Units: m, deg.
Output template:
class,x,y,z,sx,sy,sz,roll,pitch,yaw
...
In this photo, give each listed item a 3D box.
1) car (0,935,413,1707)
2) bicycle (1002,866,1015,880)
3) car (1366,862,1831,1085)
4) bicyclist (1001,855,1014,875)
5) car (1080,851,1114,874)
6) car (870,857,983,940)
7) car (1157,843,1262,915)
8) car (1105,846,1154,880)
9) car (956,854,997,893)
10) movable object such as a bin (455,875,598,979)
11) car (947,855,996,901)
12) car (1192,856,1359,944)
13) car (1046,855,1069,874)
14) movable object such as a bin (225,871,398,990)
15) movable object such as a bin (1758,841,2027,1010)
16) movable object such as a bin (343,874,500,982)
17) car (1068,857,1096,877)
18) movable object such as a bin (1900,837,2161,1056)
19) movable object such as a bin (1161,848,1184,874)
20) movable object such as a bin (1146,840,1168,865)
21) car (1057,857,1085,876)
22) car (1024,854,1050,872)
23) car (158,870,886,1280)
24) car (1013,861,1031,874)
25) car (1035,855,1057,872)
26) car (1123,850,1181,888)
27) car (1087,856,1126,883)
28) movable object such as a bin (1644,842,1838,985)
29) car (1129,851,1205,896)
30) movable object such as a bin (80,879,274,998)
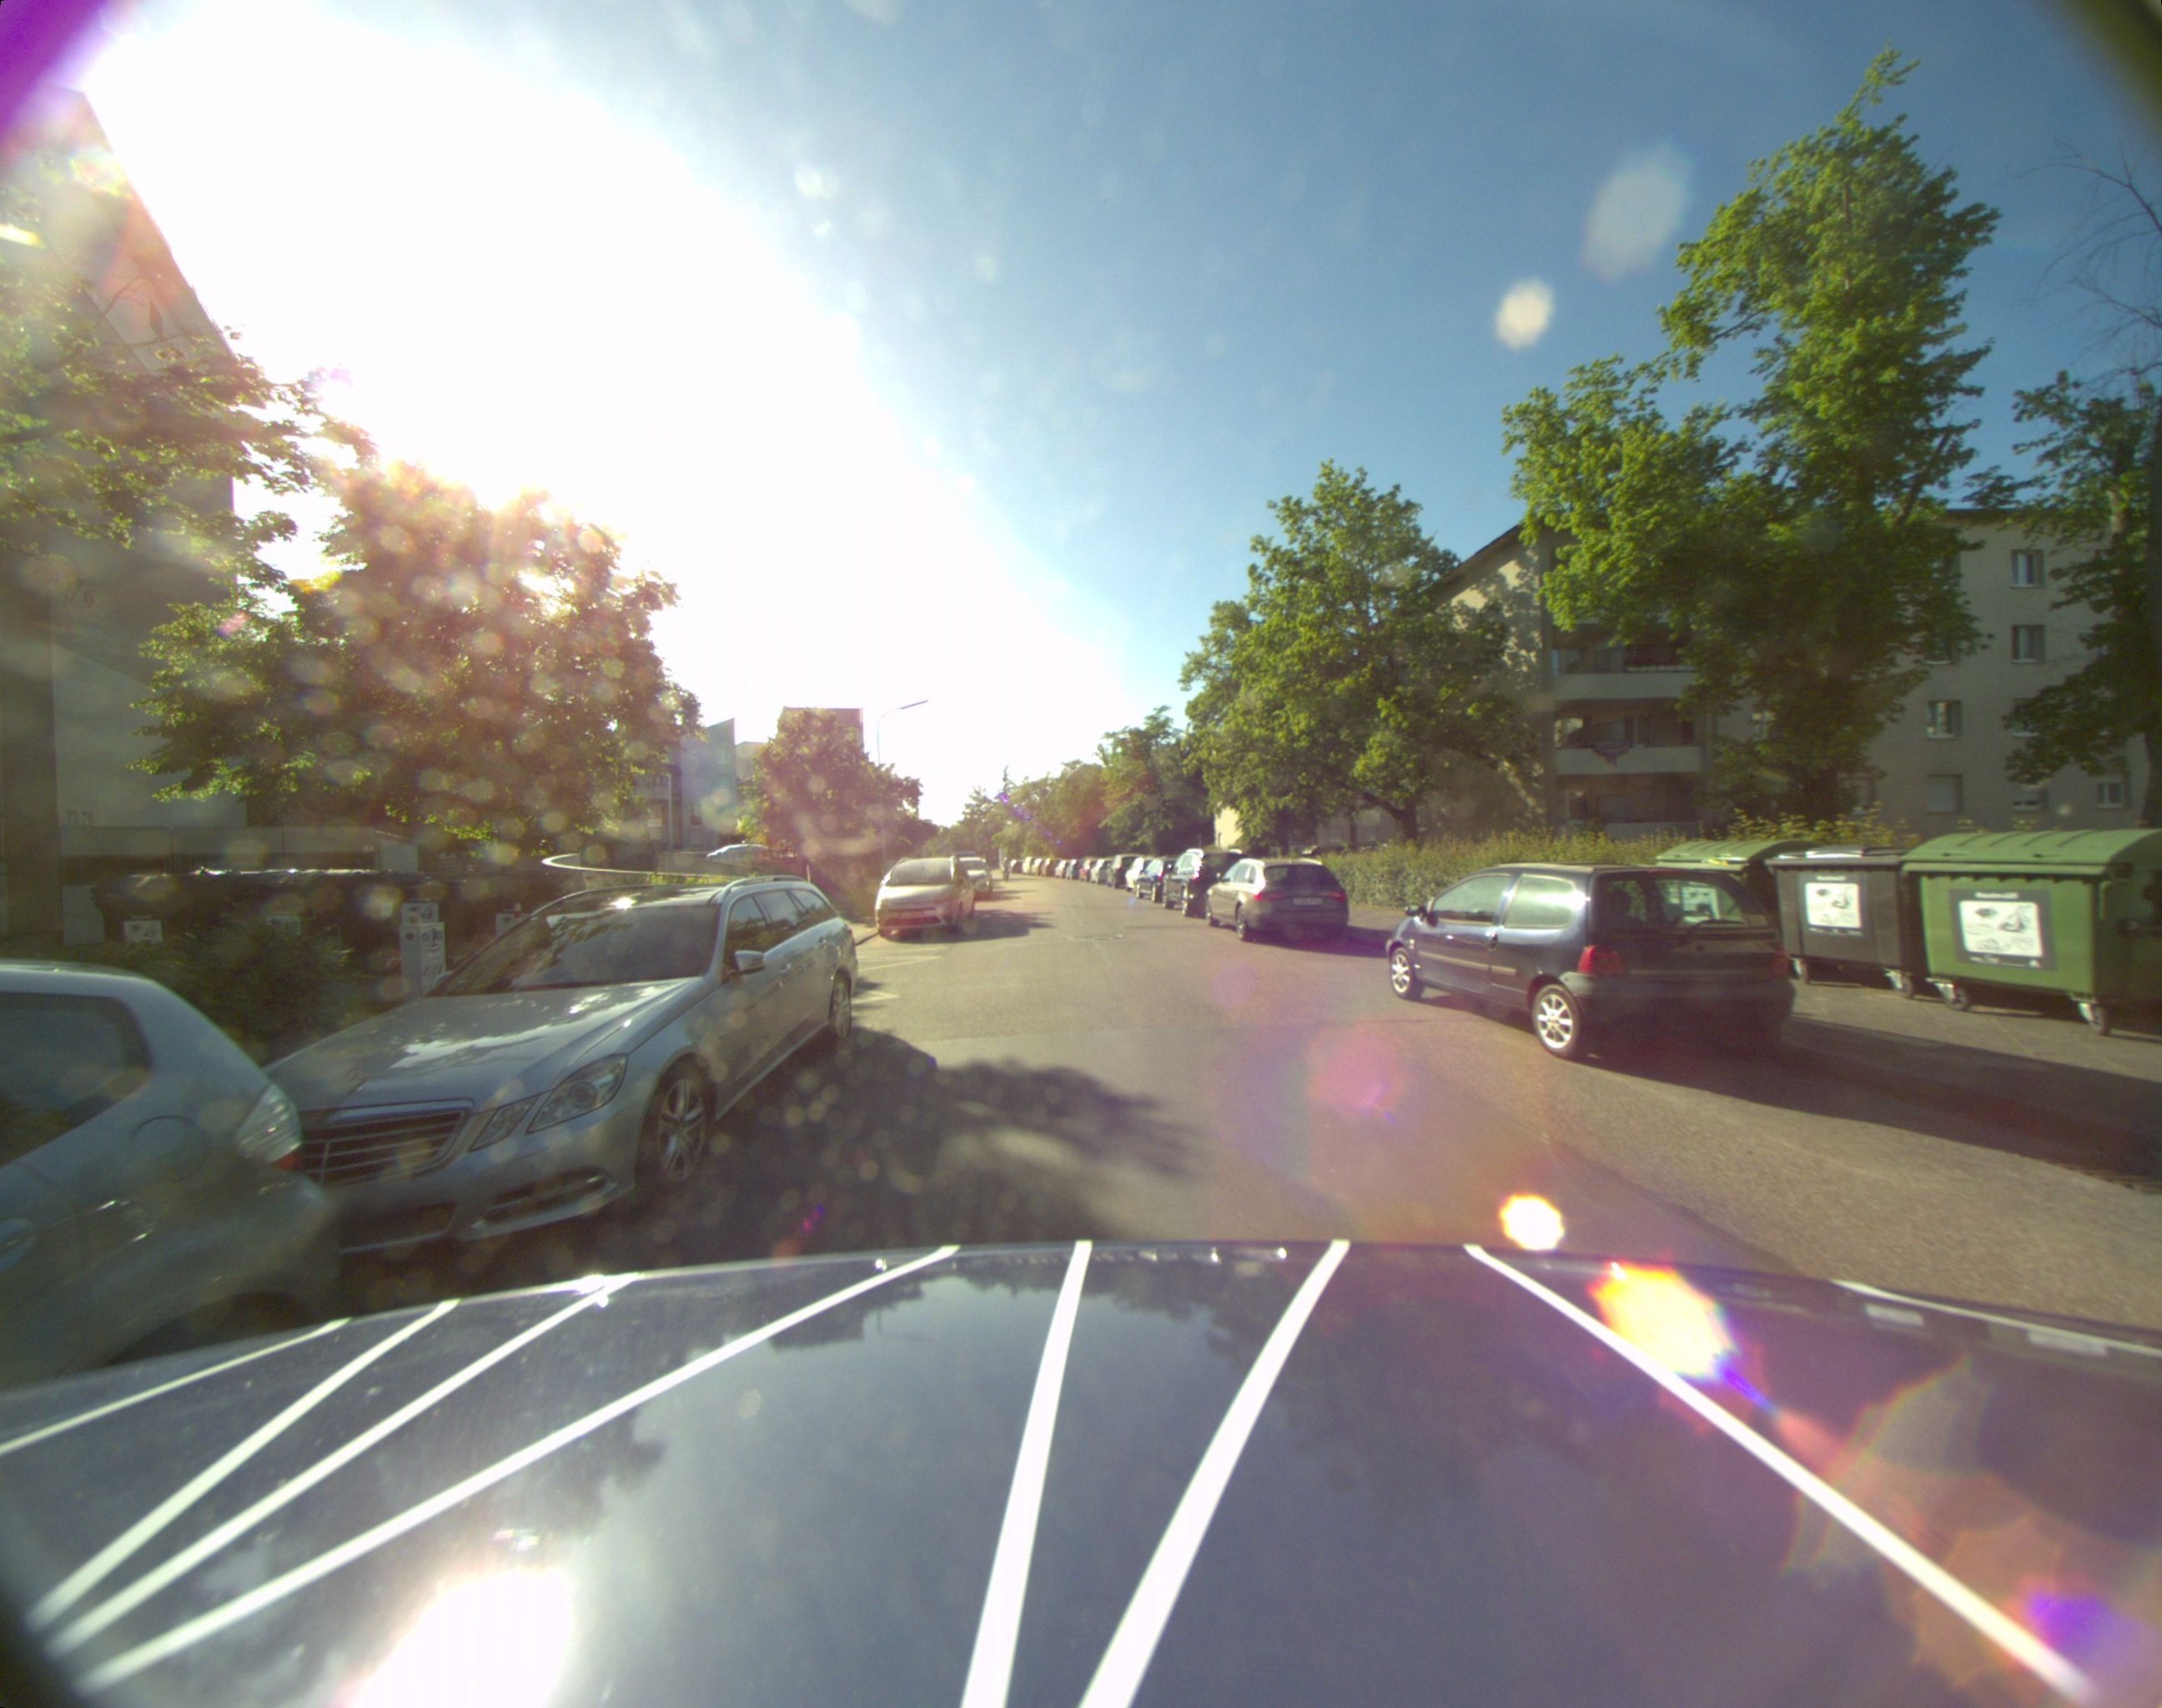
class,x,y,z,sx,sy,sz,roll,pitch,yaw
car,-2.783,0.993,0.239,1.809,1.486,3.794,-2,0,-2
bicycle,-5.059,1.305,52.619,0.824,0.896,2.202,-2,0,-6
car,4.124,0.807,6.815,1.653,1.455,3.494,0,0,-4
bicyclist,-5.094,0.782,52.809,0.813,1.348,1.090,-2,0,-7
car,1.007,0.531,49.281,1.636,1.470,3.877,0,0,-8
car,-3.419,0.911,17.601,1.759,1.617,4.494,-2,0,-2
car,3.213,0.590,19.908,1.759,1.658,4.389,0,0,-4
car,2.312,0.437,37.386,1.812,1.596,4.430,0,0,-5
car,-4.897,0.892,36.093,1.759,1.676,3.981,-2,0,-6
movable object such as a bin,-8.054,1.032,11.113,1.329,1.419,1.069,1,0,-9
car,-4.395,0.918,30.944,1.759,1.664,4.411,-2,0,-6
car,3.502,0.746,14.640,1.759,1.377,4.672,0,0,-4
car,-2.149,0.947,68.533,1.659,1.621,4.069,0,0,-9
movable object such as a bin,-10.855,1.037,10.786,1.329,1.528,1.029,-2,0,-9
movable object such as a bin,7.528,0.612,7.147,1.122,1.358,1.257,-4,1,-4
movable object such as a bin,-9.473,1.029,10.988,1.329,1.422,1.029,-2,0,-9
car,0.059,0.943,56.409,1.659,1.470,3.104,0,0,-8
movable object such as a bin,7.475,0.615,5.770,1.004,1.407,1.326,-4,1,-4
movable object such as a bin,5.155,0.384,42.996,0.897,1.407,1.264,-4,1,-7
movable object such as a bin,4.546,-0.079,45.545,1.008,1.407,1.264,-4,1,-7
car,-0.826,0.974,61.350,1.659,1.470,3.732,0,0,-10
car,-4.720,0.909,80.225,1.886,1.857,5.433,0,0,-13
car,-2.884,0.956,5.451,1.836,1.537,4.640,-2,0,-2
car,-7.160,1.574,91.918,1.659,1.558,3.686,0,0,-14
car,-3.473,0.873,74.505,1.659,1.621,3.687,0,0,-11
car,2.837,0.588,31.312,1.759,1.428,4.149,0,0,-4
car,1.422,0.863,44.145,1.812,1.470,3.938,0,0,-5
movable object such as a bin,7.283,0.613,8.478,0.897,1.407,1.326,-4,1,-4
car,2.782,0.620,25.498,1.643,1.377,4.168,0,0,-6
movable object such as a bin,-12.367,1.118,10.462,1.326,1.472,1.029,-2,0,-9
